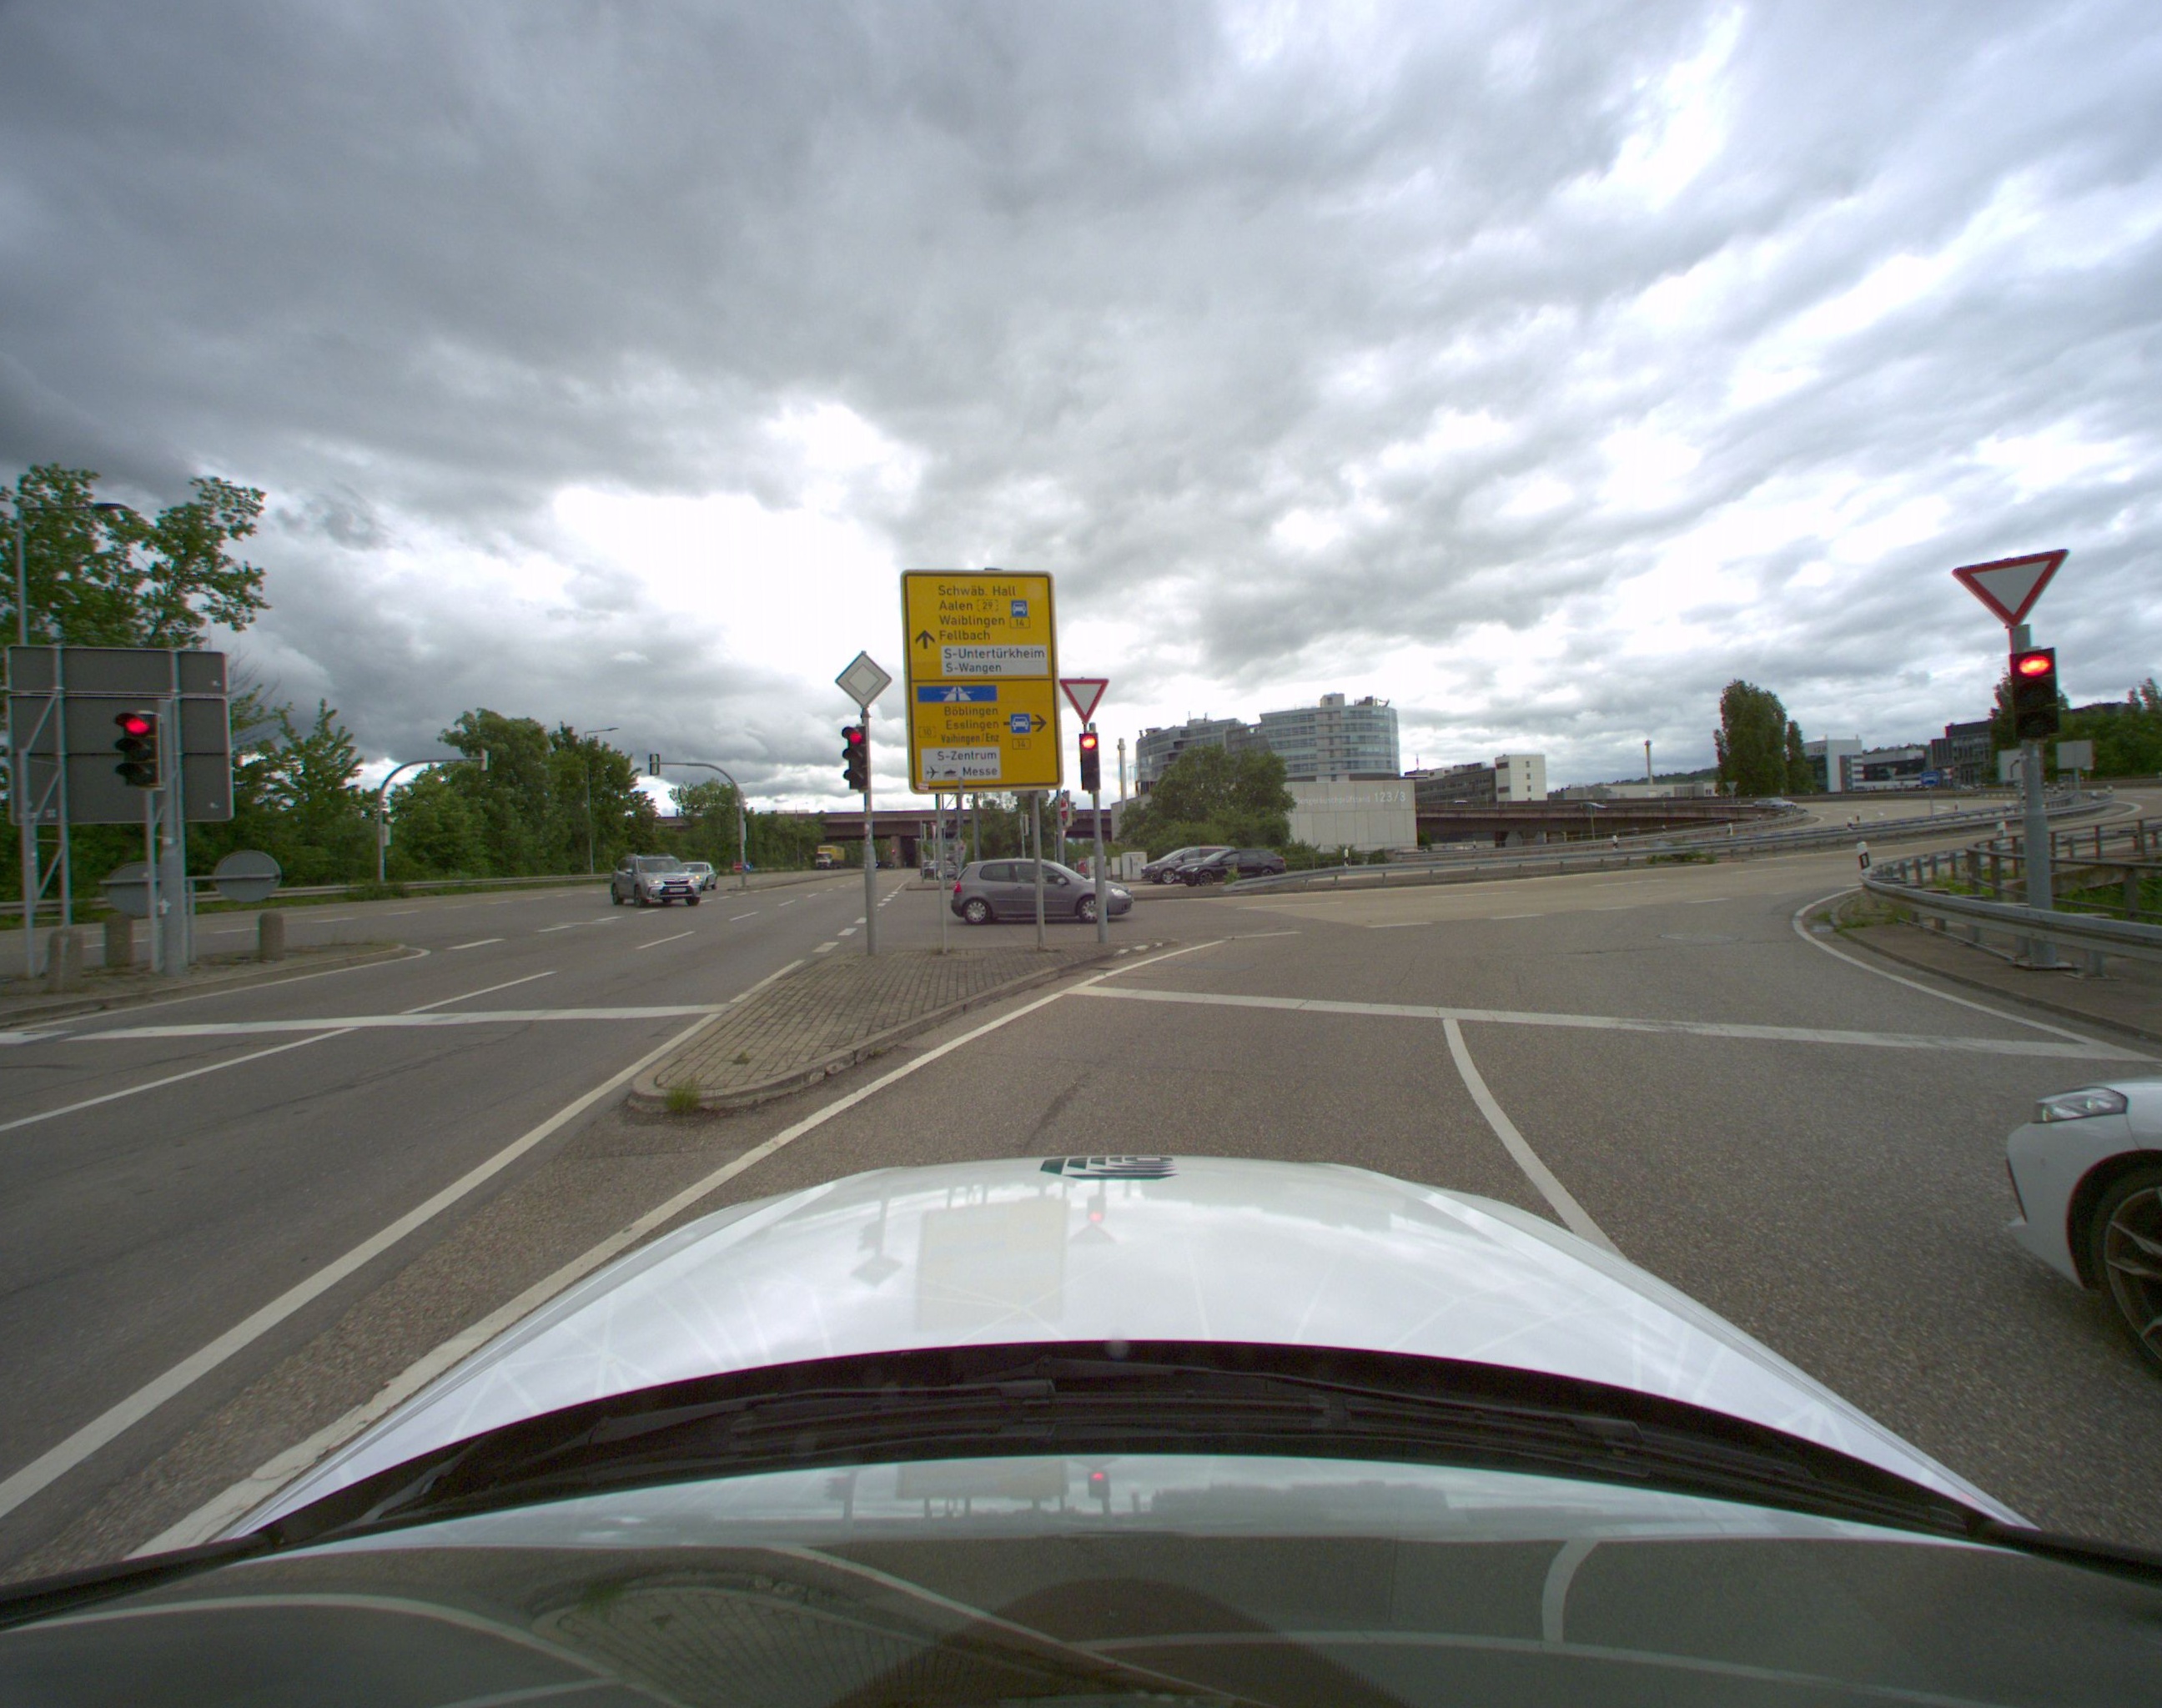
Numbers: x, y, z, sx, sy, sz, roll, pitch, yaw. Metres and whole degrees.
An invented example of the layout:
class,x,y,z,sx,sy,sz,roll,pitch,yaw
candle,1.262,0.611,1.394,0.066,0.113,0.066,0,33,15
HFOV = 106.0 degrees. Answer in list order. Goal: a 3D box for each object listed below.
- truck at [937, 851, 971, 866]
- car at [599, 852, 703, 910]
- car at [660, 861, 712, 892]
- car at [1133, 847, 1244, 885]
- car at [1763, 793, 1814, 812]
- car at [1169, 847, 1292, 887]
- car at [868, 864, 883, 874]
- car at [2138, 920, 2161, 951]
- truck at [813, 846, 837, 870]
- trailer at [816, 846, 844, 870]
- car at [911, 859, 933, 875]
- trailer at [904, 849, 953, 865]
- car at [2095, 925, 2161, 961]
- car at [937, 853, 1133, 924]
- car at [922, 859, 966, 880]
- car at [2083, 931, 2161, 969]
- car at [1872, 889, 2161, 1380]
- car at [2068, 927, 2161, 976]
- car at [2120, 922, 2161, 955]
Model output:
class,x,y,z,sx,sy,sz,roll,pitch,yaw
truck,-23.403,0.793,150.136,5.778,2.624,2.604,3,-1,-19
car,-14.353,0.858,27.048,4.499,1.737,1.740,-2,0,45
car,-19.815,1.105,41.009,1.729,1.400,4.042,-2,0,-17
car,4.915,0.503,37.363,4.683,1.571,1.948,-1,1,-13
car,75.629,-5.497,87.099,1.897,1.662,4.760,2,0,10
car,6.108,0.515,33.475,4.611,1.457,1.947,-1,1,-14
car,-40.038,2.866,158.654,2.003,1.859,3.967,2,0,-26
car,55.498,4.133,40.160,1.830,1.354,3.832,-3,1,-24
truck,-44.594,0.680,141.861,2.870,4.084,6.470,1,0,-8
trailer,-45.319,0.675,147.303,2.869,4.084,11.396,1,0,-8
car,-15.360,1.272,78.594,1.995,1.464,4.092,0,-2,-12
trailer,-27.798,0.601,149.056,8.535,2.624,2.603,2,-1,-8
car,51.324,4.274,38.547,1.830,1.354,3.832,-3,1,-24
car,-0.983,0.772,18.748,4.208,1.461,1.733,-1,1,6
car,-10.308,1.164,61.013,2.006,1.442,4.070,0,-2,-30
car,49.200,4.452,37.283,1.830,1.354,3.832,-3,1,-24
car,3.667,0.788,0.926,1.795,1.291,4.273,0,0,8
car,47.115,4.342,36.165,1.830,1.760,3.832,-3,1,-24
car,53.544,4.183,39.329,1.830,1.354,3.832,-3,1,-24
